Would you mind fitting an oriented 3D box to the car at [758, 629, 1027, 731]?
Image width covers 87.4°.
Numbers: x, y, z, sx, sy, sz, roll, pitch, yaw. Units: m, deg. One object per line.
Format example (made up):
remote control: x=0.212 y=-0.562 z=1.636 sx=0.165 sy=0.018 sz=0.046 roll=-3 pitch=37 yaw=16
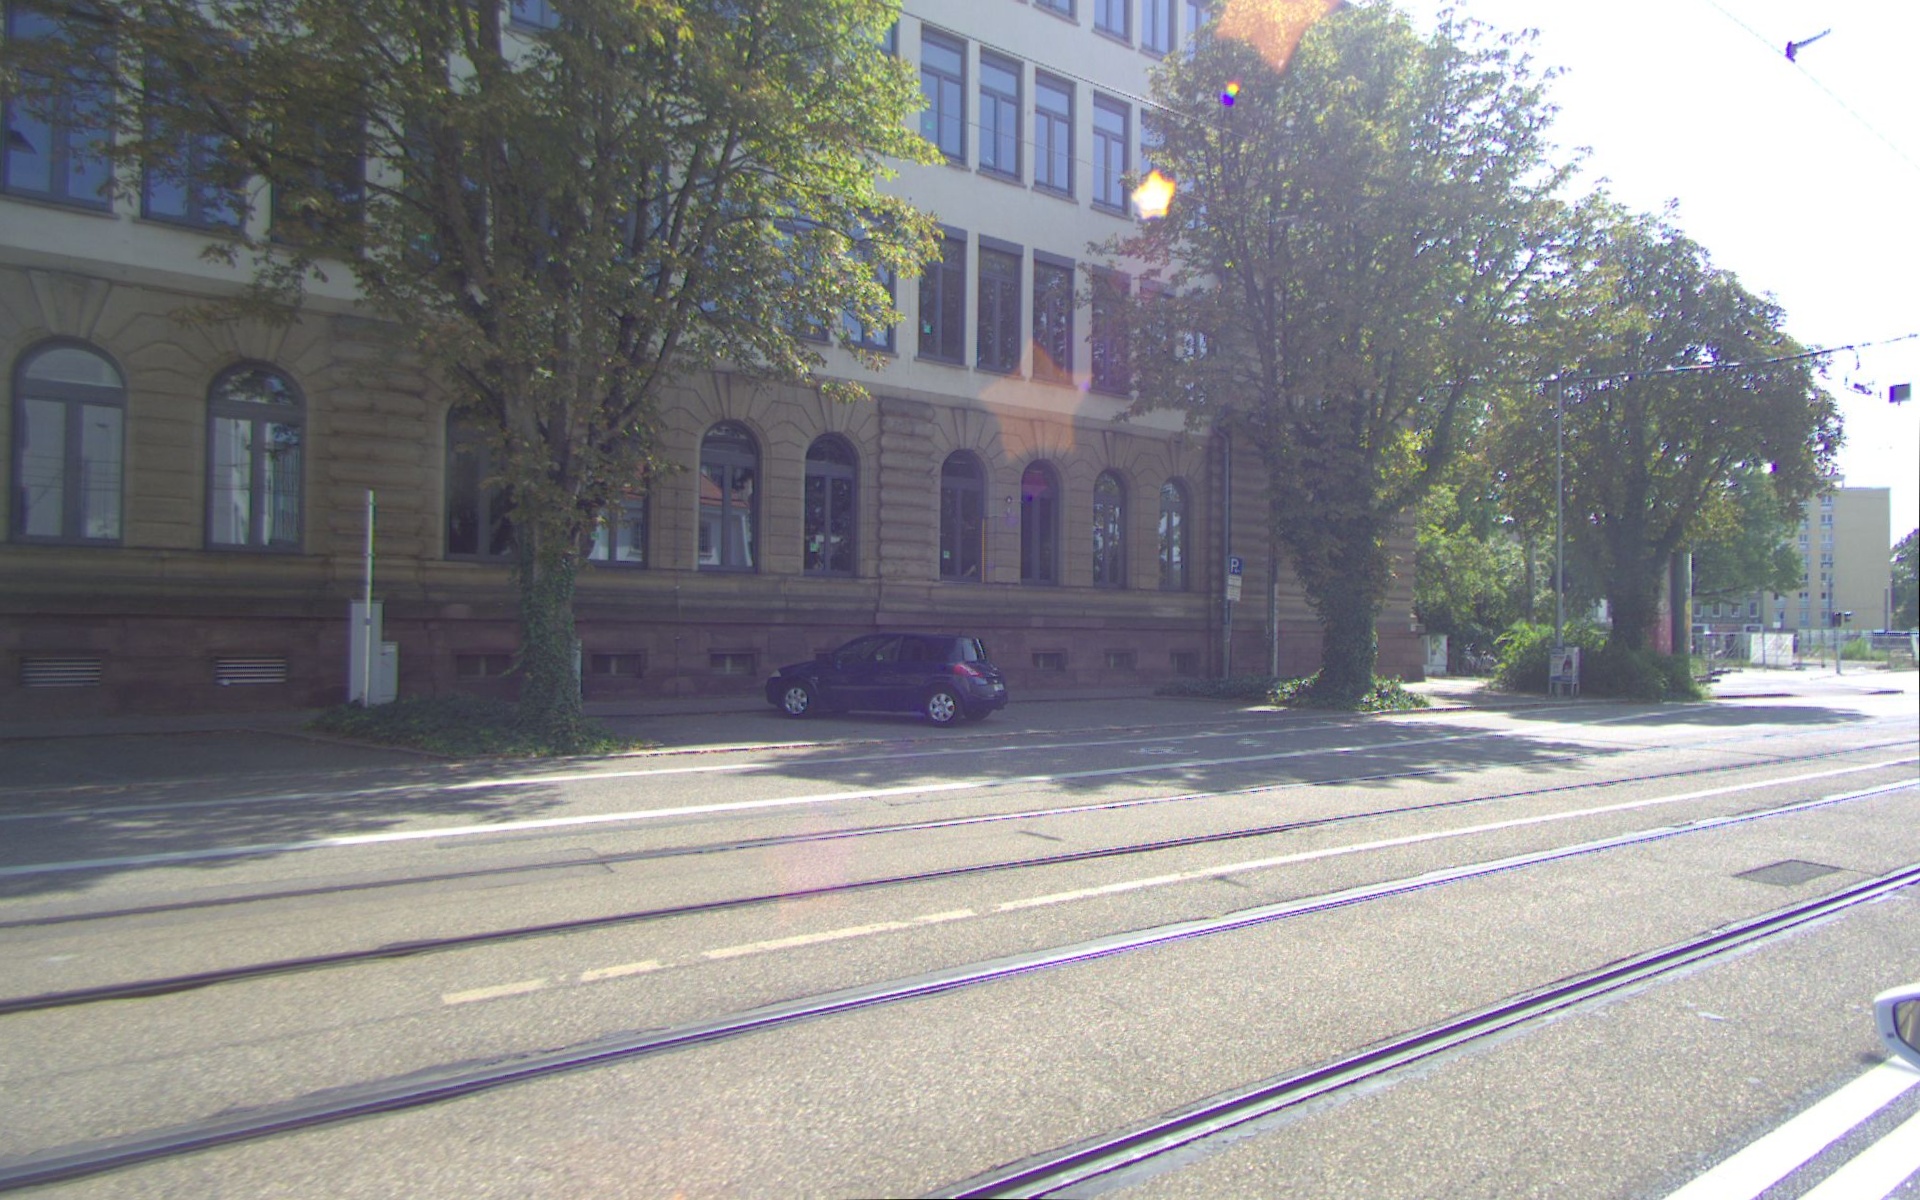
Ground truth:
car: x=-1.108 y=1.249 z=16.725 sx=4.082 sy=1.516 sz=1.821 roll=0 pitch=-2 yaw=21
